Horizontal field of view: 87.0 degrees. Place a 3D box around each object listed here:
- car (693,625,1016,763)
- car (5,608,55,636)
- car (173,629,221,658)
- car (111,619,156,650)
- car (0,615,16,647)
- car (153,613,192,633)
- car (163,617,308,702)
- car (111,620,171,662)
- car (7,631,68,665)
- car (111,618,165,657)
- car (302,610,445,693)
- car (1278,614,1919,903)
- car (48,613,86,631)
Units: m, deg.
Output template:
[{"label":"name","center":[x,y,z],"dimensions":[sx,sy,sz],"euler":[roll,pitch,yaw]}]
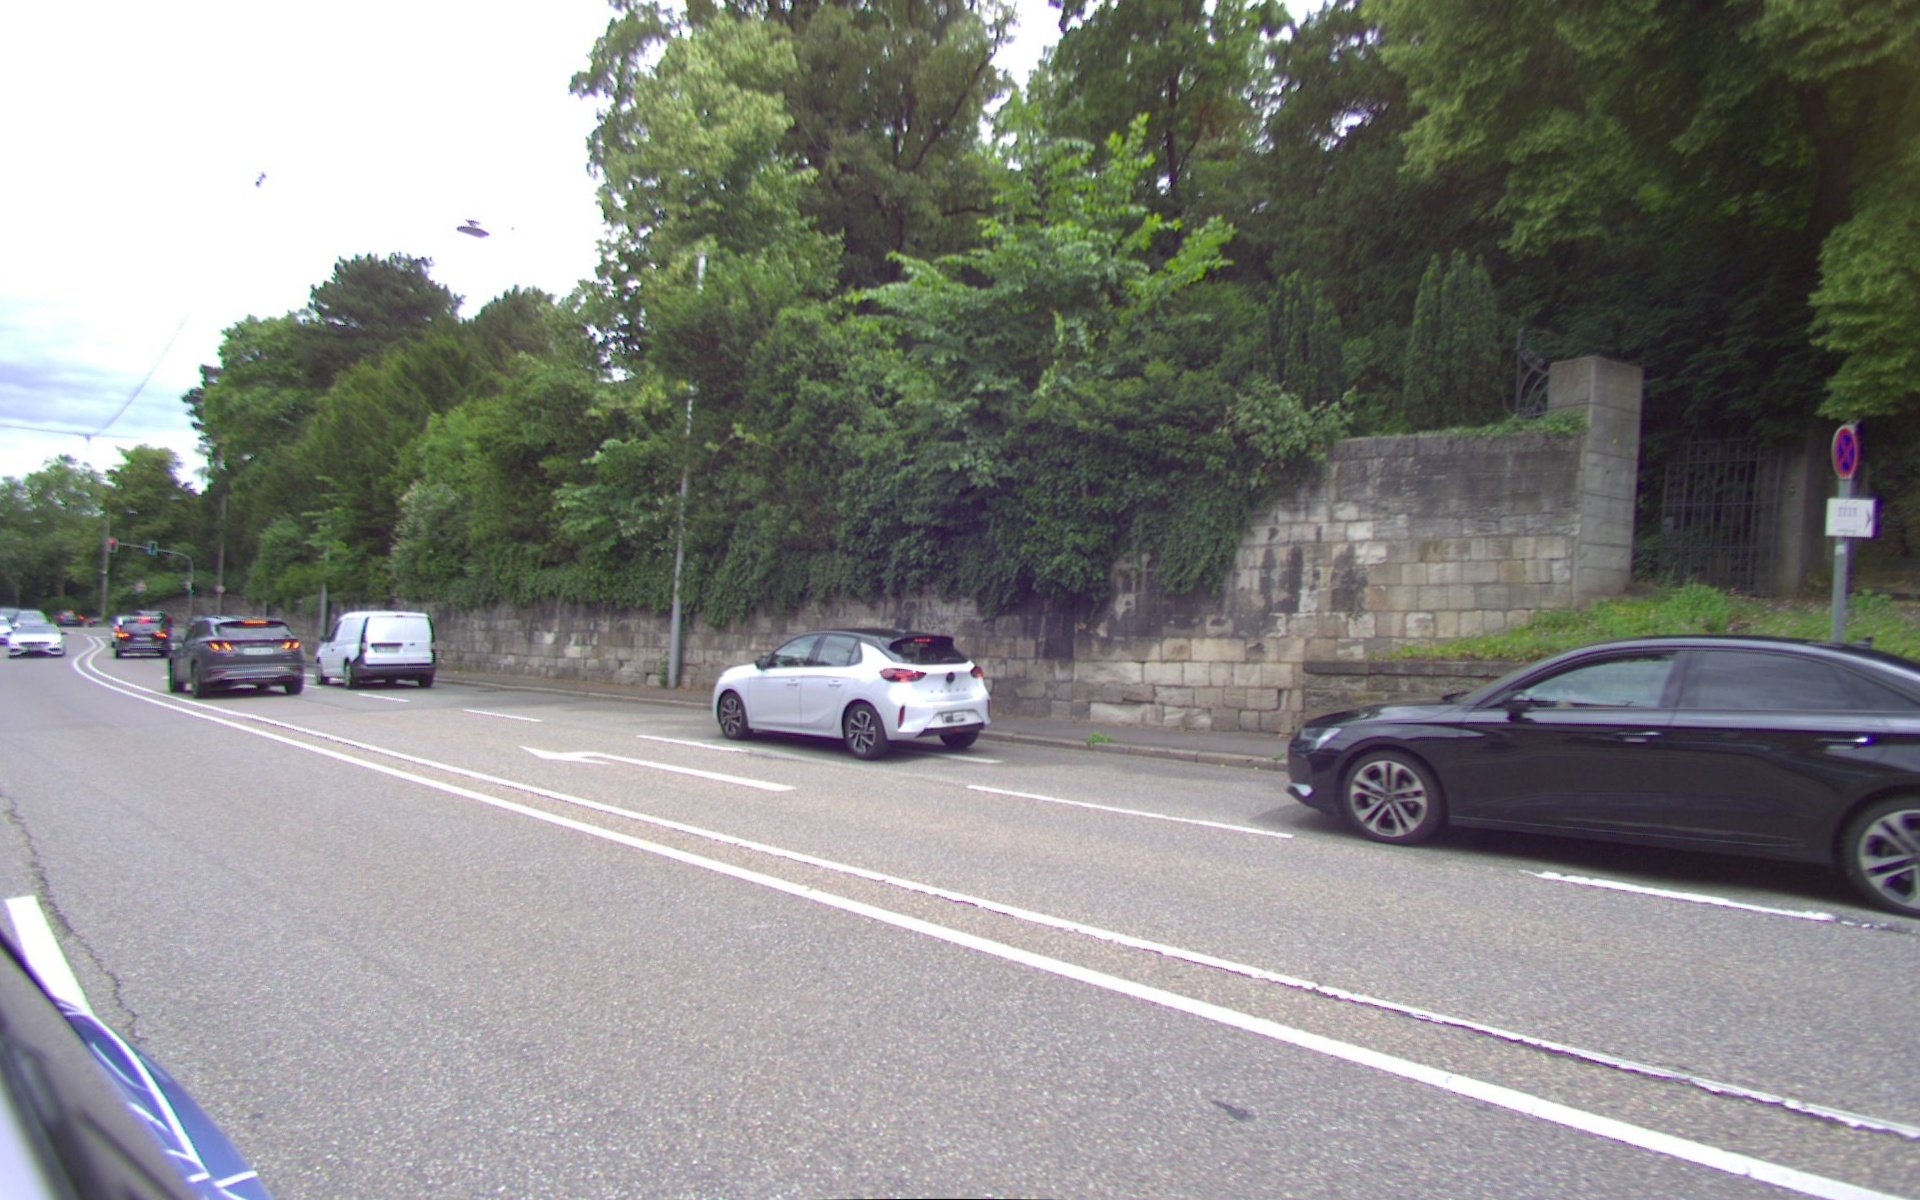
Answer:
[{"label":"car","center":[-1.401,1.036,12.390],"dimensions":[4.023,1.414,1.697],"euler":[-2,-3,43]},{"label":"car","center":[-60.608,1.448,65.952],"dimensions":[3.998,1.753,1.933],"euler":[-1,-2,41]},{"label":"car","center":[-40.850,2.320,54.164],"dimensions":[1.819,1.420,4.463],"euler":[3,-3,-39]},{"label":"car","center":[-45.157,1.833,55.258],"dimensions":[1.814,1.566,4.796],"euler":[1,-1,-40]},{"label":"car","center":[-54.782,1.747,56.844],"dimensions":[3.994,1.785,1.934],"euler":[-1,-2,38]},{"label":"car","center":[-58.105,1.700,74.645],"dimensions":[1.977,1.420,4.762],"euler":[-1,-1,-41]},{"label":"car","center":[-15.657,1.205,21.785],"dimensions":[4.363,1.645,1.828],"euler":[-2,-2,45]},{"label":"car","center":[-35.358,1.761,43.653],"dimensions":[1.825,1.664,4.631],"euler":[3,-3,-40]},{"label":"car","center":[-39.533,2.031,43.432],"dimensions":[1.776,1.401,3.532],"euler":[2,-3,-41]},{"label":"car","center":[-40.331,1.818,49.640],"dimensions":[1.935,1.763,4.886],"euler":[3,-2,-40]},{"label":"car","center":[-14.489,1.218,24.899],"dimensions":[4.398,1.862,1.871],"euler":[-1,-3,44]},{"label":"car","center":[4.469,0.838,6.372],"dimensions":[4.425,1.429,1.665],"euler":[-1,-3,40]},{"label":"car","center":[-75.540,1.886,85.594],"dimensions":[3.999,1.453,1.972],"euler":[-2,-1,42]}]
